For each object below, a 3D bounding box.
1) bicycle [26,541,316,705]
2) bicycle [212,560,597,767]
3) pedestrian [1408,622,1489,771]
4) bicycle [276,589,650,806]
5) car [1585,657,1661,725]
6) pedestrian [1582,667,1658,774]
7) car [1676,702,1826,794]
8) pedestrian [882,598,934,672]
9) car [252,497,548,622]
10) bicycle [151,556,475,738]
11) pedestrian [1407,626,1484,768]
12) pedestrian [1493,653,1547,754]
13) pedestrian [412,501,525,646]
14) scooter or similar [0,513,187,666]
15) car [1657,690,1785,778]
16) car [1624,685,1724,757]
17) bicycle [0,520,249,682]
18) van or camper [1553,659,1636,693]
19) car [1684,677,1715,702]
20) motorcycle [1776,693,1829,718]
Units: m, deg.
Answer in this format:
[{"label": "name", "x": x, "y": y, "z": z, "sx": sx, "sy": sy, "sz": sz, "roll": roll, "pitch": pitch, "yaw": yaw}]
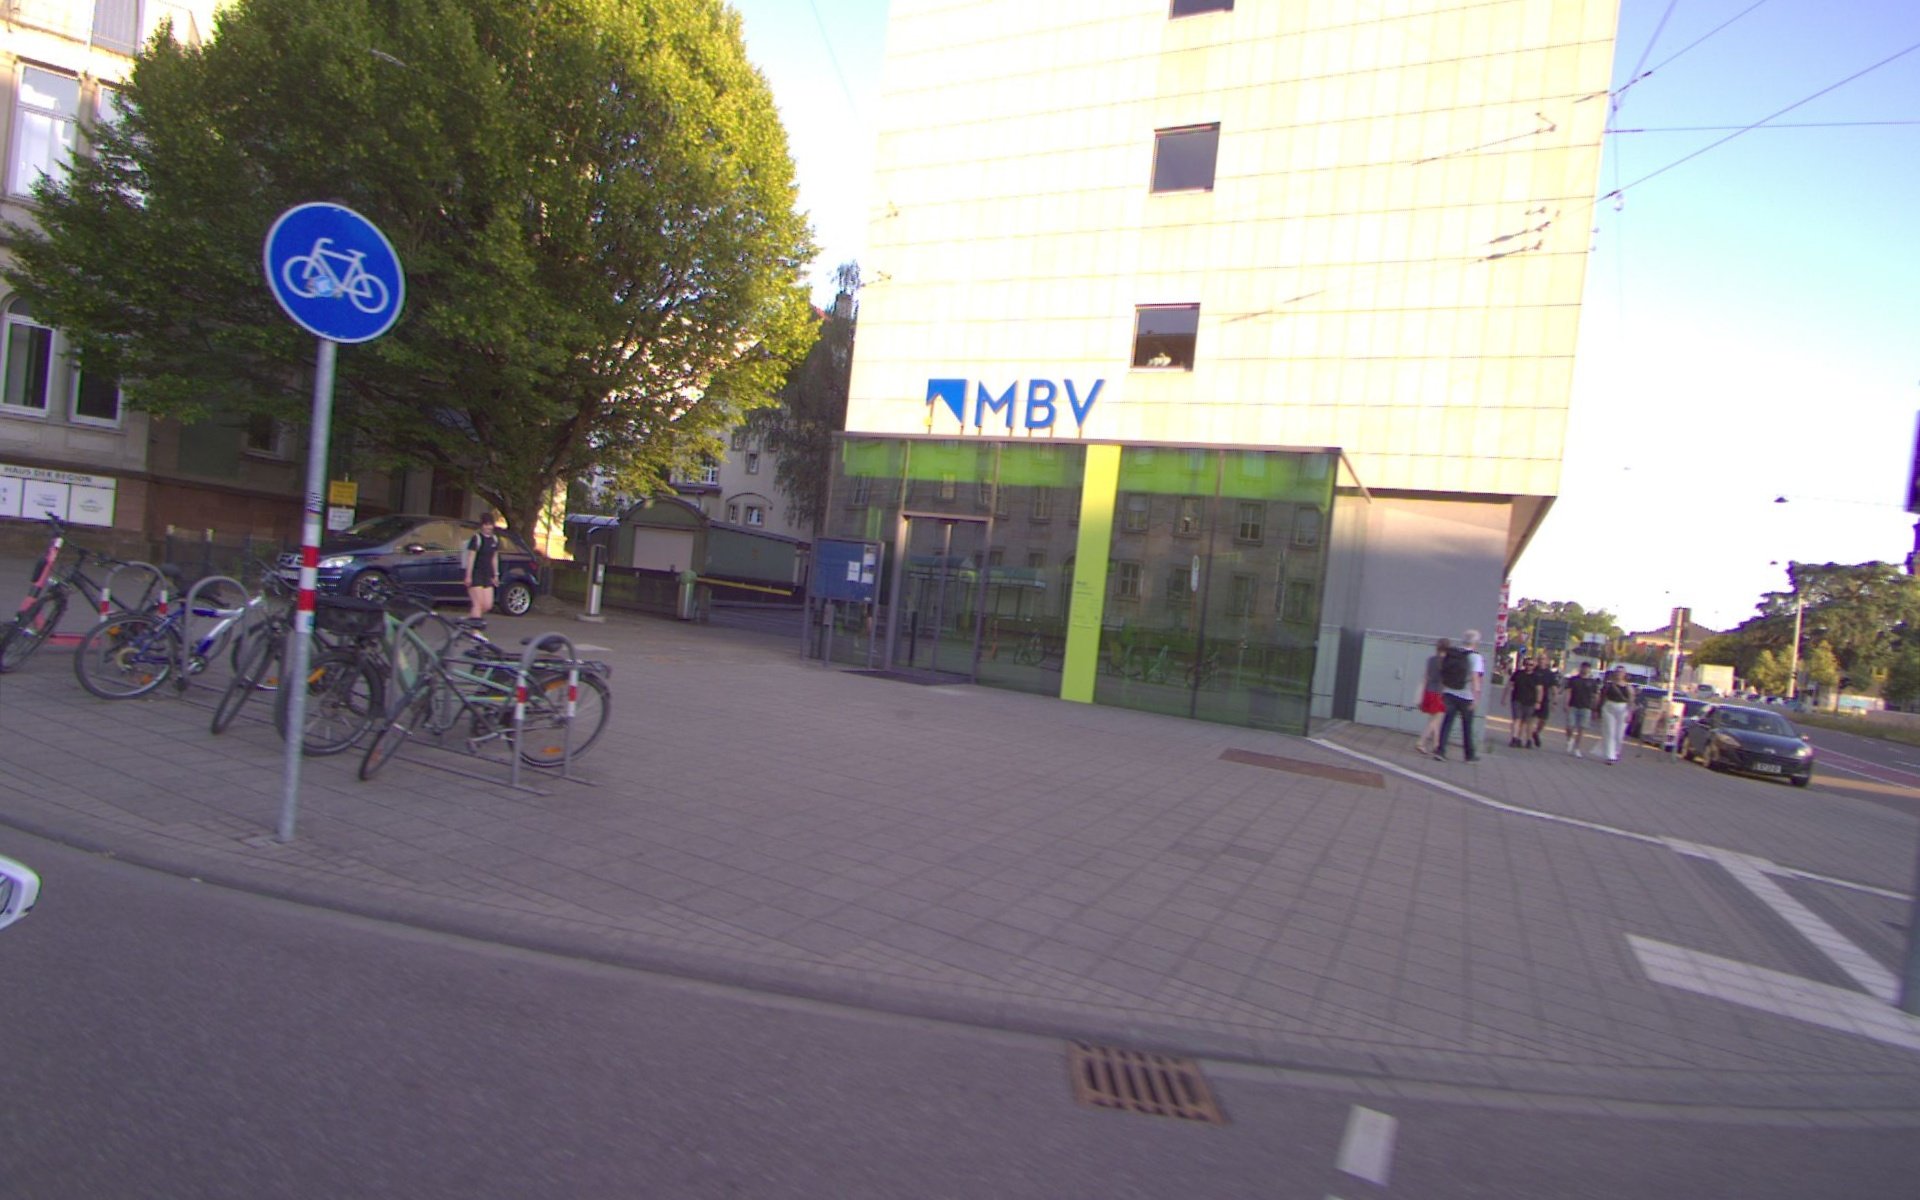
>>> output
[{"label": "bicycle", "x": -6.086, "y": 0.196, "z": 7.852, "sx": 0.731, "sy": 1.088, "sz": 1.554, "roll": 7, "pitch": 0, "yaw": 28}, {"label": "bicycle", "x": -3.710, "y": 0.408, "z": 6.987, "sx": 0.731, "sy": 1.147, "sz": 2.233, "roll": 7, "pitch": 1, "yaw": 28}, {"label": "pedestrian", "x": 6.323, "y": 1.229, "z": 13.028, "sx": 0.722, "sy": 1.790, "sz": 0.707, "roll": 7, "pitch": 1, "yaw": 27}, {"label": "bicycle", "x": -2.989, "y": 0.590, "z": 6.200, "sx": 0.734, "sy": 1.088, "sz": 1.855, "roll": 7, "pitch": 0, "yaw": 44}, {"label": "car", "x": 32.006, "y": 4.405, "z": 48.463, "sx": 2.209, "sy": 2.662, "sz": 5.834, "roll": 15, "pitch": 4, "yaw": 37}, {"label": "pedestrian", "x": 11.929, "y": 2.157, "z": 18.221, "sx": 0.828, "sy": 1.790, "sz": 0.785, "roll": 7, "pitch": 1, "yaw": 23}, {"label": "car", "x": 17.376, "y": 3.184, "z": 22.292, "sx": 1.668, "sy": 1.428, "sz": 3.864, "roll": 8, "pitch": 1, "yaw": 26}, {"label": "pedestrian", "x": -0.907, "y": 0.617, "z": 17.689, "sx": 0.605, "sy": 1.224, "sz": 0.542, "roll": 7, "pitch": 1, "yaw": 27}, {"label": "car", "x": -9.323, "y": -0.594, "z": 17.103, "sx": 1.771, "sy": 1.593, "sz": 3.992, "roll": 8, "pitch": 1, "yaw": 26}, {"label": "bicycle", "x": -4.571, "y": 0.342, "z": 7.256, "sx": 0.731, "sy": 1.088, "sz": 1.758, "roll": 7, "pitch": 0, "yaw": 28}, {"label": "pedestrian", "x": 6.606, "y": 1.302, "z": 13.703, "sx": 0.734, "sy": 1.790, "sz": 0.707, "roll": 7, "pitch": 1, "yaw": 27}, {"label": "pedestrian", "x": 10.579, "y": 1.935, "z": 19.029, "sx": 0.643, "sy": 1.790, "sz": 0.645, "roll": 7, "pitch": 1, "yaw": 23}, {"label": "pedestrian", "x": -6.556, "y": -0.343, "z": 13.447, "sx": 0.970, "sy": 1.790, "sz": 0.709, "roll": 7, "pitch": 1, "yaw": 11}, {"label": "scooter or similar", "x": -7.806, "y": -0.083, "z": 9.019, "sx": 0.580, "sy": 1.241, "sz": 1.201, "roll": 7, "pitch": 2, "yaw": 27}, {"label": "car", "x": 19.557, "y": 3.375, "z": 26.042, "sx": 1.668, "sy": 1.686, "sz": 3.864, "roll": 11, "pitch": 2, "yaw": 26}, {"label": "car", "x": 21.962, "y": 3.667, "z": 31.096, "sx": 1.668, "sy": 1.686, "sz": 3.864, "roll": 11, "pitch": 2, "yaw": 26}, {"label": "bicycle", "x": -6.969, "y": 0.032, "z": 8.332, "sx": 0.731, "sy": 1.177, "sz": 1.529, "roll": 7, "pitch": 0, "yaw": 28}, {"label": "van or camper", "x": 53.377, "y": 6.397, "z": 84.696, "sx": 5.425, "sy": 2.194, "sz": 2.243, "roll": 5, "pitch": 0, "yaw": -3}, {"label": "car", "x": 77.814, "y": 9.391, "z": 105.877, "sx": 1.857, "sy": 2.266, "sz": 3.904, "roll": 7, "pitch": 0, "yaw": 28}, {"label": "motorcycle", "x": 77.855, "y": 9.777, "z": 92.994, "sx": 3.439, "sy": 1.777, "sz": 0.924, "roll": 7, "pitch": 1, "yaw": 30}]
